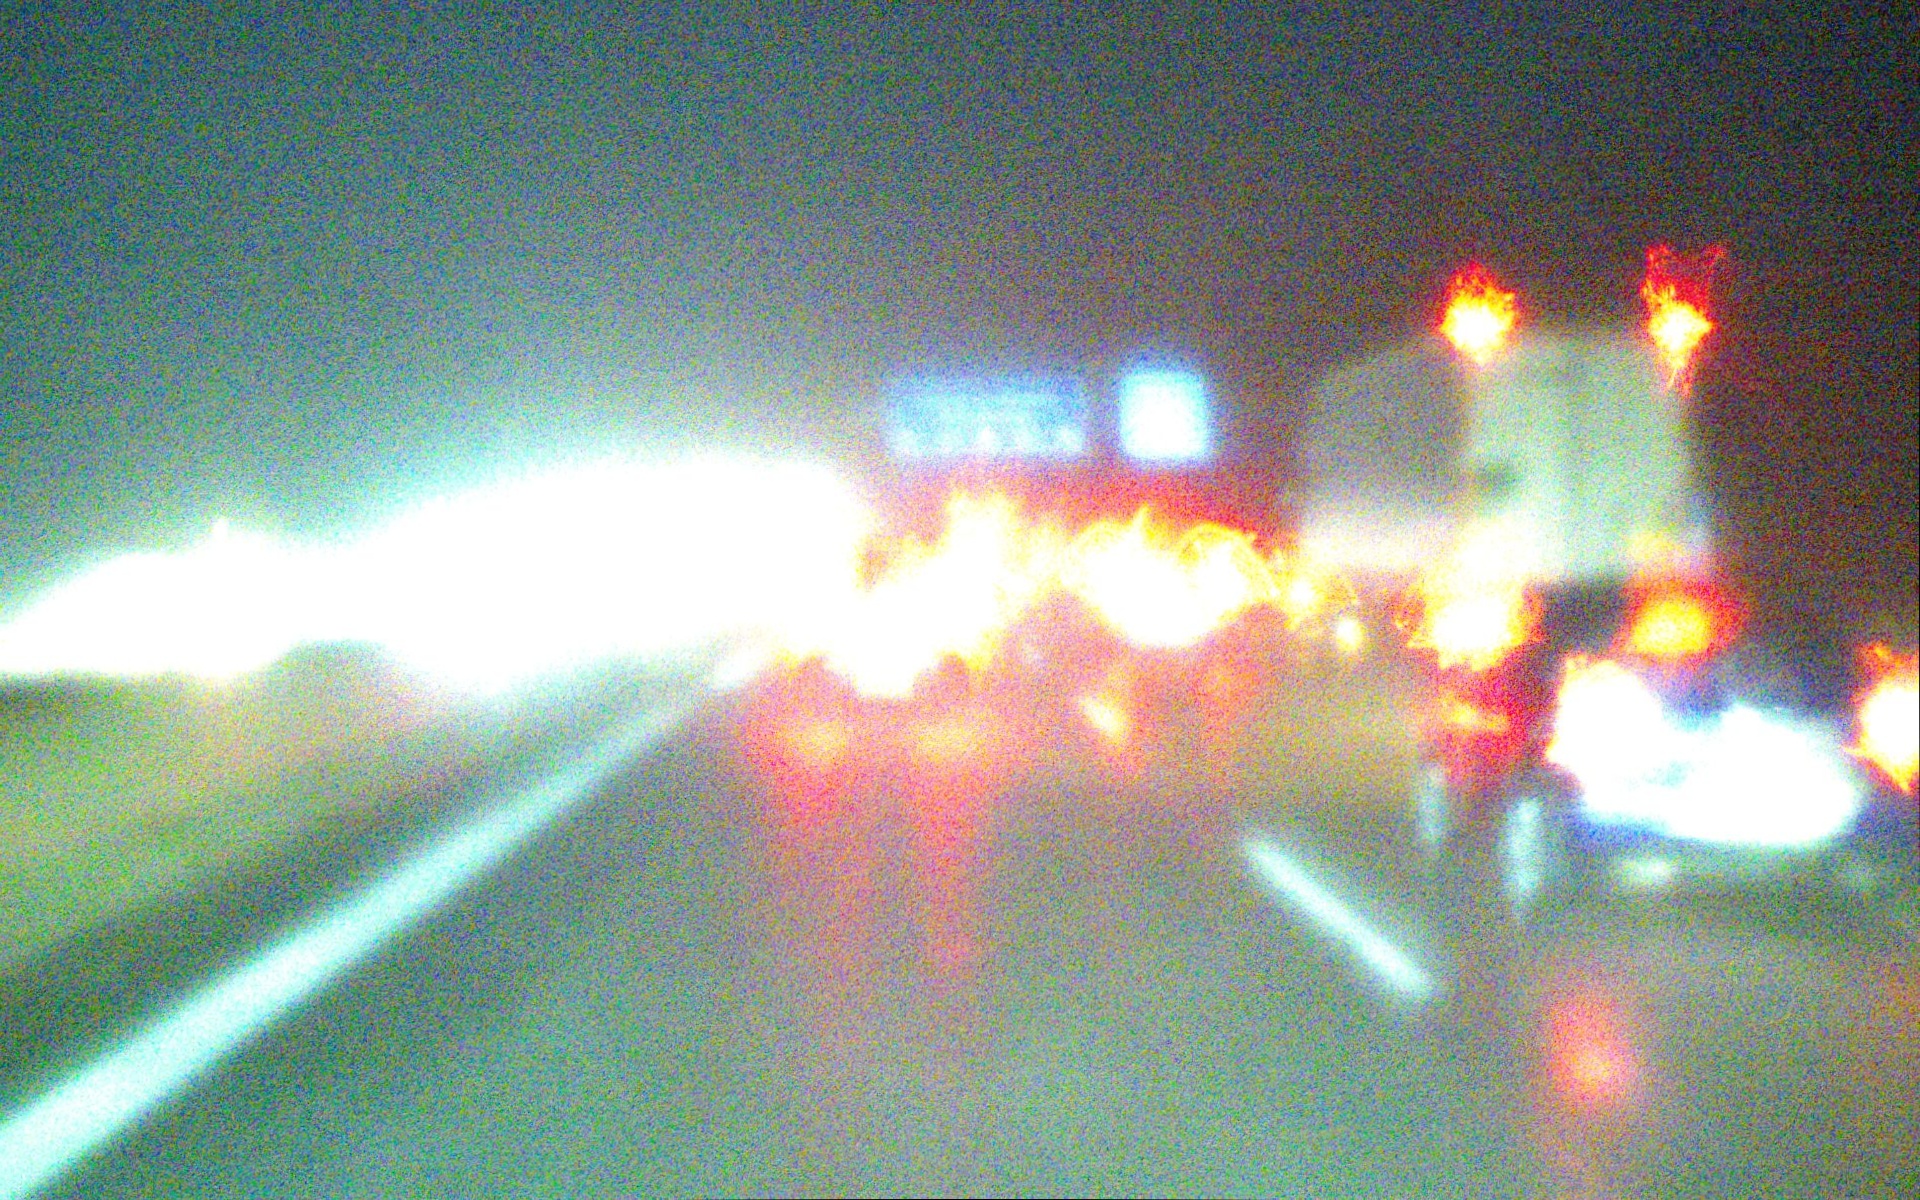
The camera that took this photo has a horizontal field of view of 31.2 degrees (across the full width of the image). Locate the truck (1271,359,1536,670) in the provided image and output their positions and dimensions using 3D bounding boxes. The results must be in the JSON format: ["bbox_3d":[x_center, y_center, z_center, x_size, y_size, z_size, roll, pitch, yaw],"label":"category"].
[{"bbox_3d":[6.438,-1.231,51.045,2.803,4.252,7.448,1,1,-1],"label":"truck"}]

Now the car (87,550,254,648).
[{"bbox_3d":[-14.184,-0.046,61.994,1.993,1.611,4.746,-2,1,-2],"label":"car"}]

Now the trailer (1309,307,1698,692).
[{"bbox_3d":[6.586,-1.186,43.814,2.803,4.198,12.097,1,1,-1],"label":"trailer"}]

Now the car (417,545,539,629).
[{"bbox_3d":[-9.949,-0.301,71.284,1.993,1.611,4.418,-2,1,-2],"label":"car"}]

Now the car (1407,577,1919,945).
[{"bbox_3d":[3.107,0.617,15.308,1.612,1.407,3.792,0,1,-2],"label":"car"}]

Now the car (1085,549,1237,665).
[{"bbox_3d":[2.859,0.065,49.681,1.884,1.583,4.000,1,1,-1],"label":"car"}]

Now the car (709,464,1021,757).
[{"bbox_3d":[-0.967,0.030,33.692,2.709,2.525,5.831,-2,1,-2],"label":"car"}]

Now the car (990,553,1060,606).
[{"bbox_3d":[2.056,-0.665,109.566,2.137,1.612,4.000,1,0,0],"label":"car"}]
